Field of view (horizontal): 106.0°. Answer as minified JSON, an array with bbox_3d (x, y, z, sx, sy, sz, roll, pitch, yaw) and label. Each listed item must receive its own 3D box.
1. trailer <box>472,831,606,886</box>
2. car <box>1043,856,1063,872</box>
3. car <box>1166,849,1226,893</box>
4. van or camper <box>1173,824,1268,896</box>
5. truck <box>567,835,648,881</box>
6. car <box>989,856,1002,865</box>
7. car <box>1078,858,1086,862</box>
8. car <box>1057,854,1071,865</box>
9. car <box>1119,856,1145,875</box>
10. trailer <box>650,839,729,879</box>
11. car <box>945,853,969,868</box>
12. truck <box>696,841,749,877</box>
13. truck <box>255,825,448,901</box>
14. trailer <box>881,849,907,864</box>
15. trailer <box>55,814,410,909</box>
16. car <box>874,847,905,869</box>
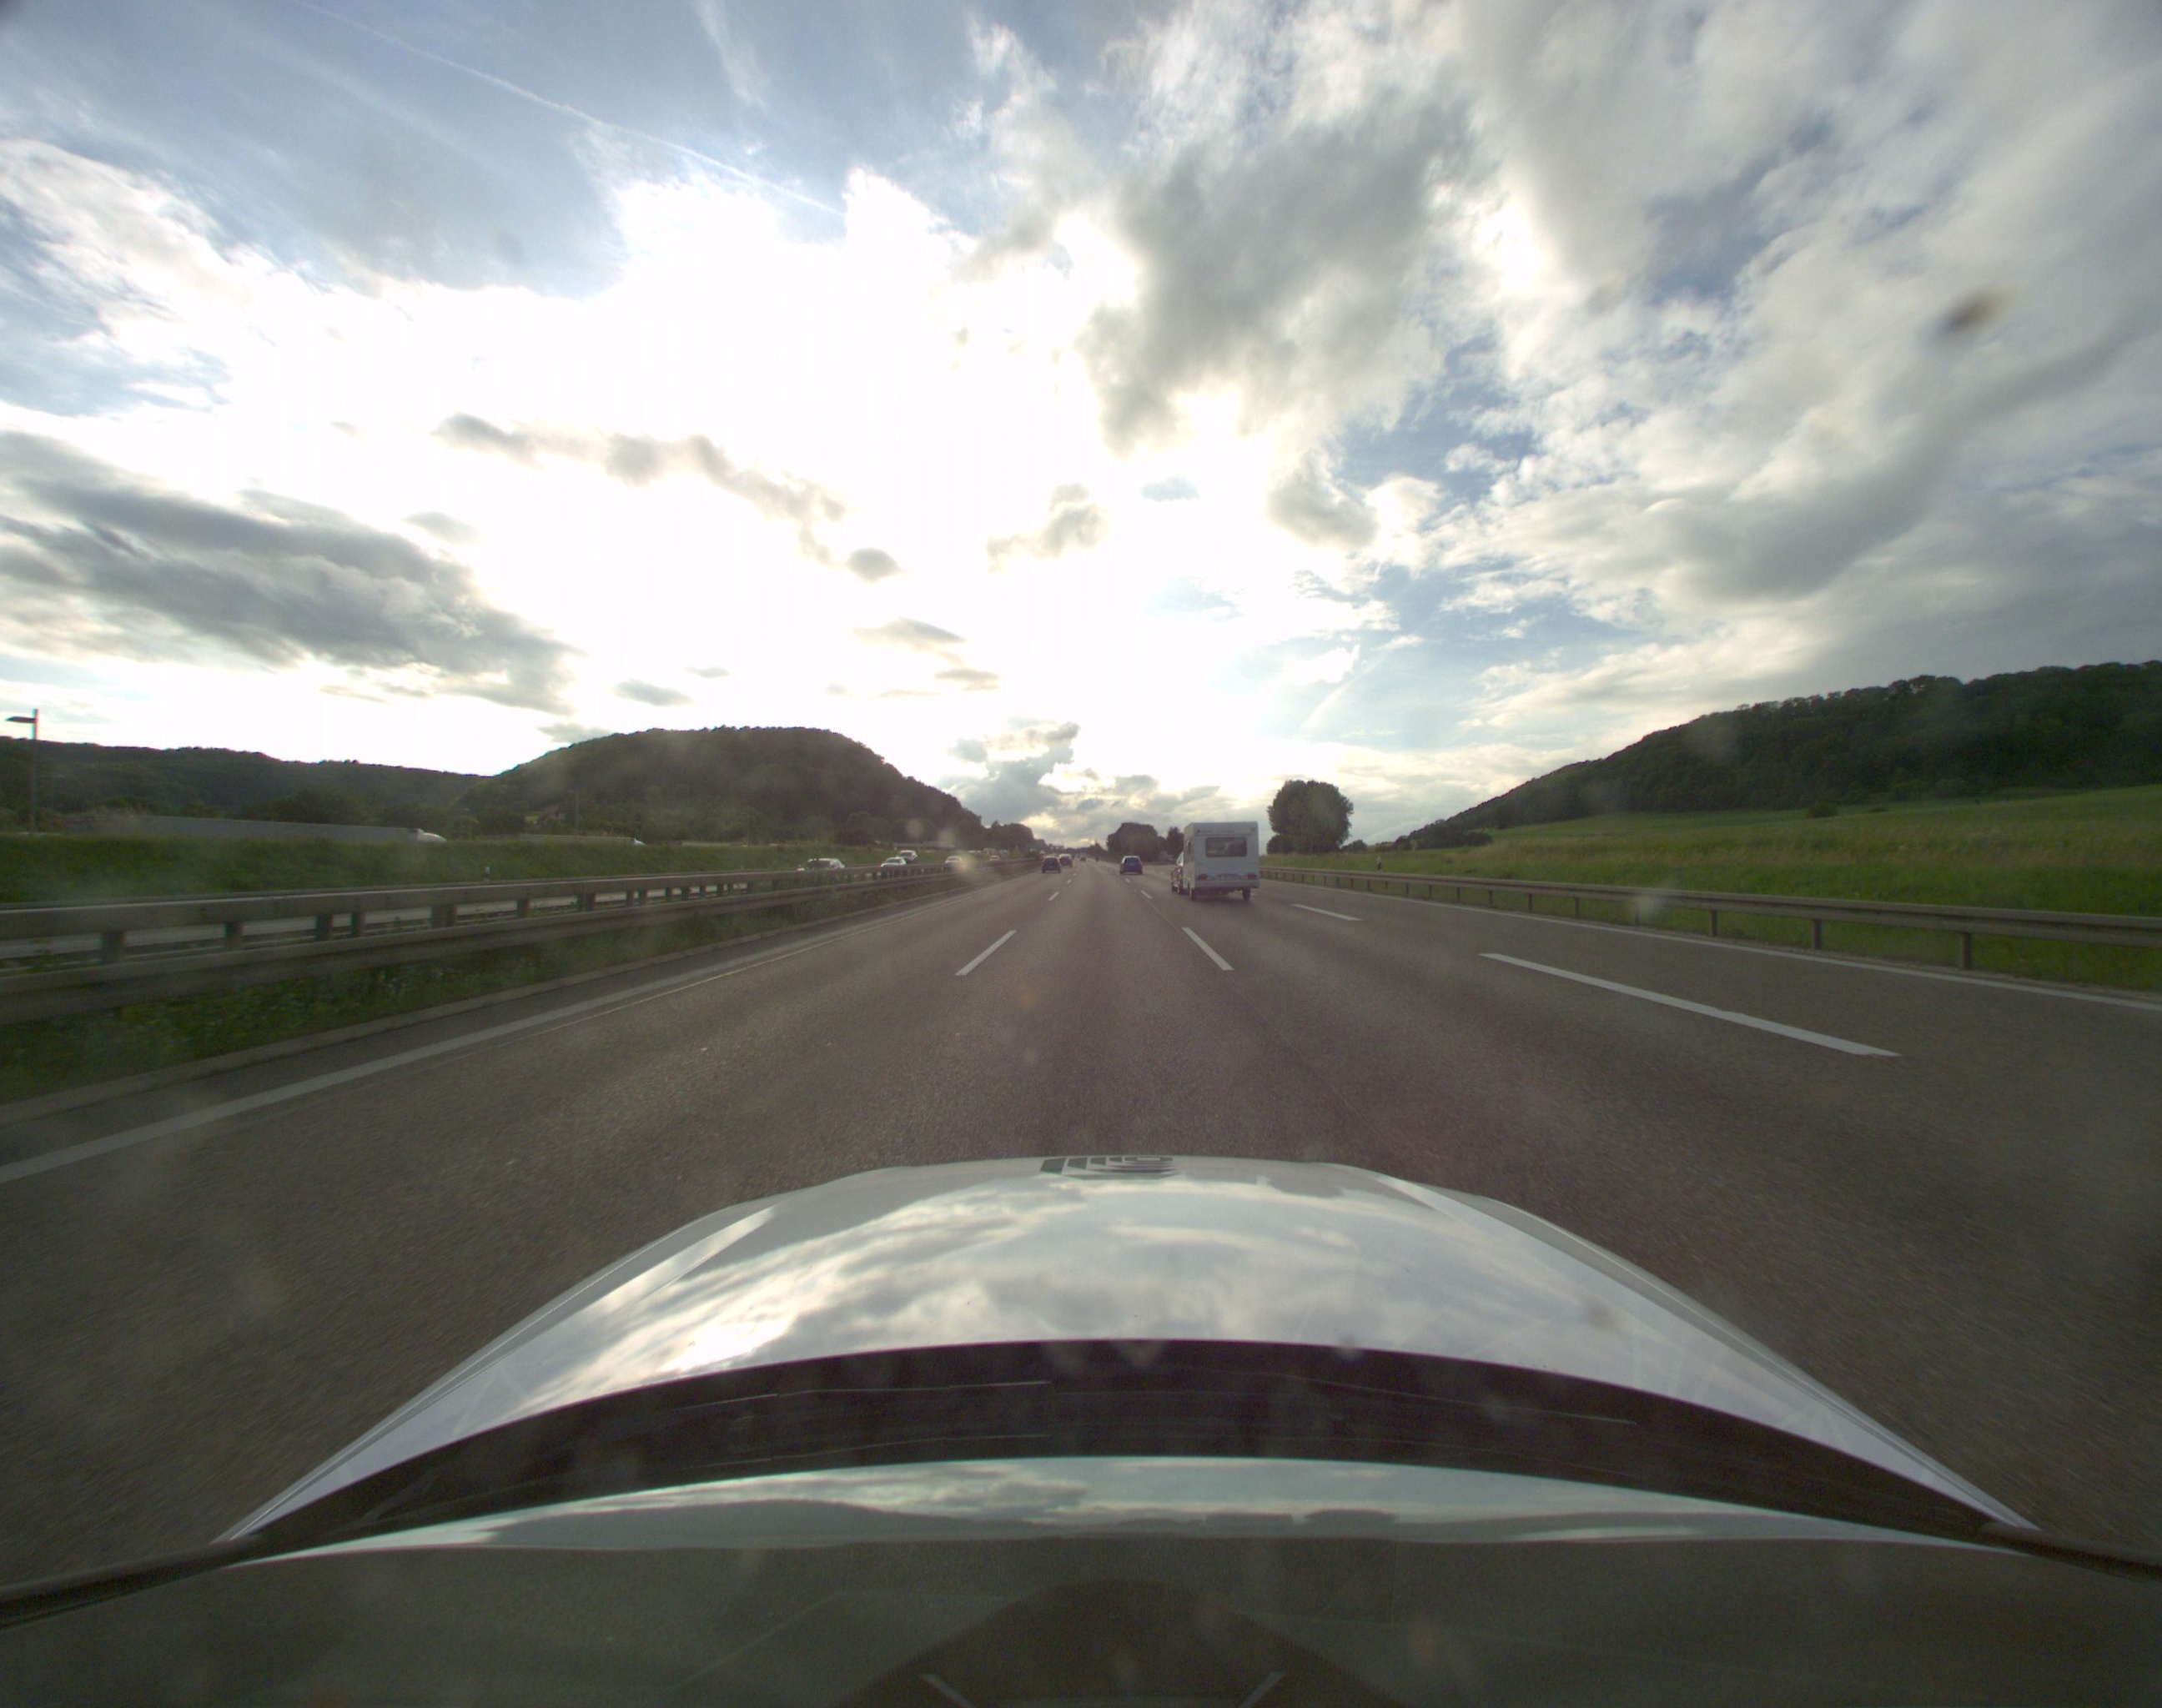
[{"bbox_3d":[-40.009,0.316,60.779,2.867,3.696,10.372,-2,0,0],"label":"trailer"},{"bbox_3d":[-2.489,0.907,73.738,1.532,1.348,3.678,-1,0,2],"label":"car"},{"bbox_3d":[4.564,0.624,32.858,1.781,1.652,4.480,0,0,0],"label":"car"},{"bbox_3d":[4.705,0.272,28.327,2.538,2.240,5.330,-1,-2,2],"label":"van or camper"},{"bbox_3d":[-39.954,0.332,69.023,2.872,3.690,6.590,-2,0,0],"label":"truck"},{"bbox_3d":[-14.881,1.105,141.990,1.945,1.448,3.872,-1,0,0],"label":"car"},{"bbox_3d":[0.279,1.714,230.209,1.748,1.222,3.993,-1,0,-5],"label":"car"},{"bbox_3d":[-2.267,0.694,107.507,1.559,1.380,4.002,-1,0,2],"label":"car"},{"bbox_3d":[4.062,0.920,65.469,1.761,1.433,3.999,-2,-1,0],"label":"car"},{"bbox_3d":[-39.653,0.502,82.960,2.867,3.696,10.372,-2,0,0],"label":"trailer"},{"bbox_3d":[-13.806,0.750,90.948,1.945,1.475,3.872,-4,0,0],"label":"car"},{"bbox_3d":[-39.621,0.525,90.265,2.872,3.690,6.590,-2,0,0],"label":"truck"},{"bbox_3d":[-39.794,0.498,44.974,2.872,3.691,8.491,-2,-1,0],"label":"truck"},{"bbox_3d":[-39.261,0.638,171.414,2.570,2.854,11.380,0,-1,1],"label":"trailer"},{"bbox_3d":[-39.837,0.419,39.650,2.868,3.696,13.674,-2,-1,0],"label":"trailer"},{"bbox_3d":[-18.595,0.372,79.389,1.945,2.113,4.520,-1,0,0],"label":"car"}]
